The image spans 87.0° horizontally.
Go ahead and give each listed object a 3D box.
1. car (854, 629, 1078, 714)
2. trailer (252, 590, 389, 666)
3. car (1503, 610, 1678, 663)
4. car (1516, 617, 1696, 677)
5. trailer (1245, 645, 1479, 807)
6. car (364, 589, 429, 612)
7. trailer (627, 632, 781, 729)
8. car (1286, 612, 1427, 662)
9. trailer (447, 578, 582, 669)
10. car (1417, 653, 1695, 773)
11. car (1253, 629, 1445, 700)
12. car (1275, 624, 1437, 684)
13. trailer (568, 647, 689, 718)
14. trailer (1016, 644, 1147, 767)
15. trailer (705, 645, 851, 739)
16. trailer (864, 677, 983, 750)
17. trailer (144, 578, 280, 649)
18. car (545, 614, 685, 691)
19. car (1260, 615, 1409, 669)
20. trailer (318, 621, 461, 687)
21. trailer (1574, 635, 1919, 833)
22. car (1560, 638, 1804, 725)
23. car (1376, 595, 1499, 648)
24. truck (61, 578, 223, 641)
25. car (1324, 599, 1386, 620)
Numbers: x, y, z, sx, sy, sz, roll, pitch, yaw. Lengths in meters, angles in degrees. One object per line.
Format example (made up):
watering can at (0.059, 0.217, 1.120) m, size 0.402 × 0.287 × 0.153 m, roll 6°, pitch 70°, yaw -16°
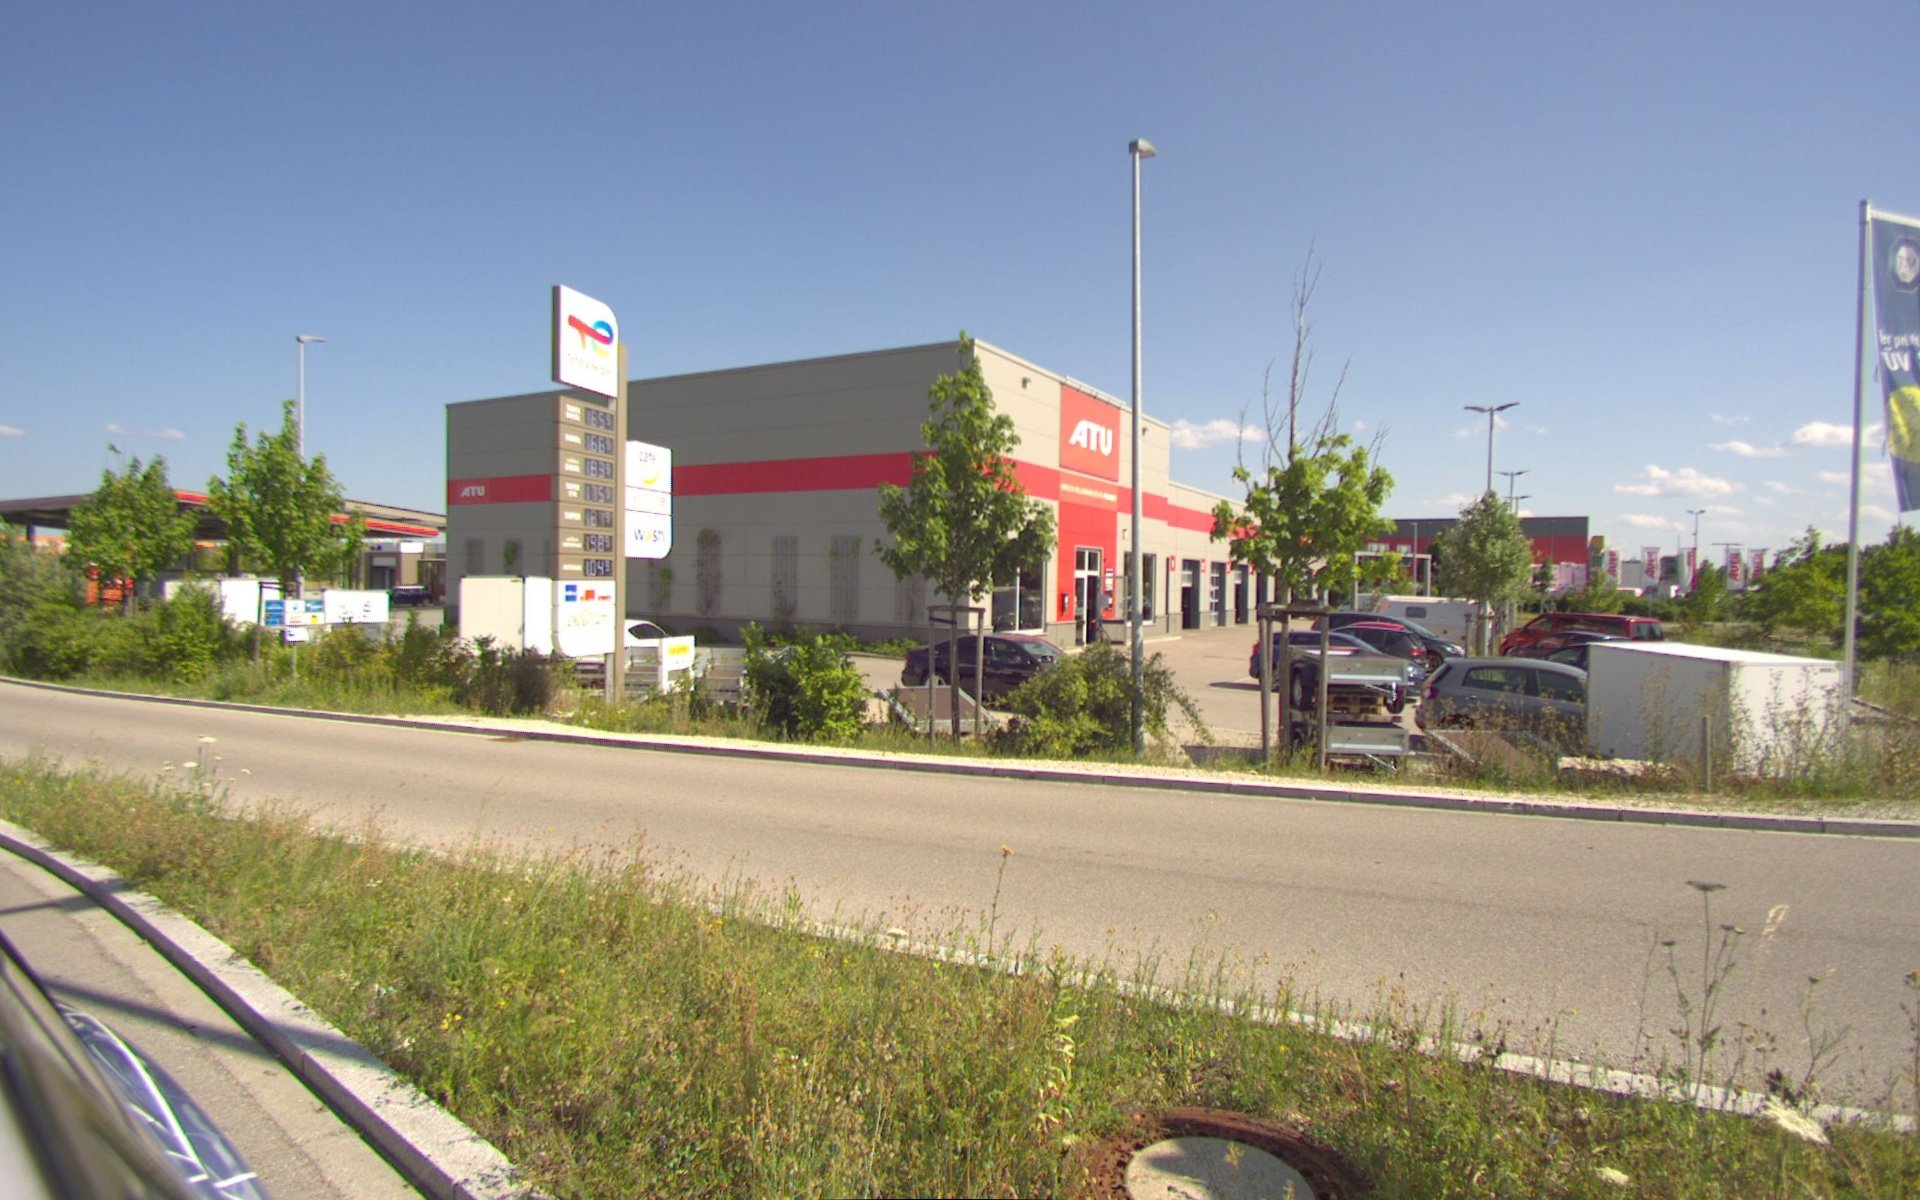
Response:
car at (0.072, 1.420, 21.304) m, size 4.486 × 1.495 × 1.783 m, roll -1°, pitch 0°, yaw 34°
trailer at (-17.788, 0.738, 28.289) m, size 1.976 × 2.029 × 2.732 m, roll 0°, pitch 1°, yaw 6°
car at (19.930, 1.093, 32.203) m, size 1.794 × 1.475 × 4.470 m, roll -1°, pitch 1°, yaw -25°
car at (18.455, 1.296, 29.100) m, size 1.794 × 1.475 × 4.013 m, roll -1°, pitch 1°, yaw -25°
trailer at (5.501, 1.646, 14.379) m, size 1.782 × 1.785 × 3.697 m, roll 0°, pitch 1°, yaw -1°
car at (-39.701, 0.002, 71.383) m, size 1.694 × 1.586 × 3.637 m, roll 0°, pitch 1°, yaw 39°
trailer at (-4.661, 1.412, 18.847) m, size 1.533 × 1.495 × 3.179 m, roll 0°, pitch 1°, yaw 12°
car at (12.844, 1.162, 32.870) m, size 3.990 × 1.475 × 1.804 m, roll 0°, pitch 1°, yaw 34°
trailer at (-10.613, 0.506, 24.363) m, size 1.724 × 2.029 × 3.238 m, roll 0°, pitch 1°, yaw 2°
car at (9.603, 1.739, 16.525) m, size 3.731 × 1.563 × 1.725 m, roll 0°, pitch 1°, yaw 32°
car at (9.063, 1.441, 23.604) m, size 3.983 × 1.475 × 1.807 m, roll 0°, pitch -2°, yaw 29°
car at (11.202, 1.464, 28.695) m, size 3.990 × 1.475 × 1.804 m, roll 0°, pitch 1°, yaw 34°
trailer at (-6.265, 1.538, 19.374) m, size 1.303 × 1.094 × 2.773 m, roll 0°, pitch 1°, yaw 3°
trailer at (1.921, 1.661, 16.959) m, size 1.684 × 1.462 × 3.698 m, roll -1°, pitch 3°, yaw -1°
trailer at (-3.143, 1.559, 17.951) m, size 1.378 × 1.332 × 2.895 m, roll 0°, pitch 1°, yaw 17°
trailer at (-0.550, 1.873, 17.150) m, size 1.841 × 0.888 × 2.837 m, roll 0°, pitch 1°, yaw 1°
trailer at (-22.582, 0.359, 30.707) m, size 1.969 × 2.029 × 3.211 m, roll -1°, pitch 1°, yaw -6°
car at (-7.948, 1.163, 23.698) m, size 1.697 × 1.548 × 3.995 m, roll 0°, pitch 1°, yaw 4°
car at (11.464, 1.238, 31.034) m, size 3.990 × 1.475 × 1.804 m, roll 0°, pitch 1°, yaw 34°
trailer at (-15.346, 1.415, 27.415) m, size 1.580 × 1.521 × 3.594 m, roll -1°, pitch 1°, yaw 6°
trailer at (9.615, 1.471, 12.468) m, size 1.782 × 1.785 × 3.698 m, roll -1°, pitch 2°, yaw -1°
car at (15.919, 1.726, 22.571) m, size 1.794 × 1.475 × 4.014 m, roll 2°, pitch 1°, yaw -25°
car at (19.256, 0.812, 40.850) m, size 4.332 × 2.029 × 1.884 m, roll 0°, pitch 1°, yaw 30°
truck at (-46.860, 0.470, 58.226) m, size 2.624 × 3.343 × 6.854 m, roll 0°, pitch 1°, yaw 22°
car at (43.915, 1.051, 112.750) m, size 2.006 × 2.251 × 6.288 m, roll -1°, pitch 1°, yaw -37°
